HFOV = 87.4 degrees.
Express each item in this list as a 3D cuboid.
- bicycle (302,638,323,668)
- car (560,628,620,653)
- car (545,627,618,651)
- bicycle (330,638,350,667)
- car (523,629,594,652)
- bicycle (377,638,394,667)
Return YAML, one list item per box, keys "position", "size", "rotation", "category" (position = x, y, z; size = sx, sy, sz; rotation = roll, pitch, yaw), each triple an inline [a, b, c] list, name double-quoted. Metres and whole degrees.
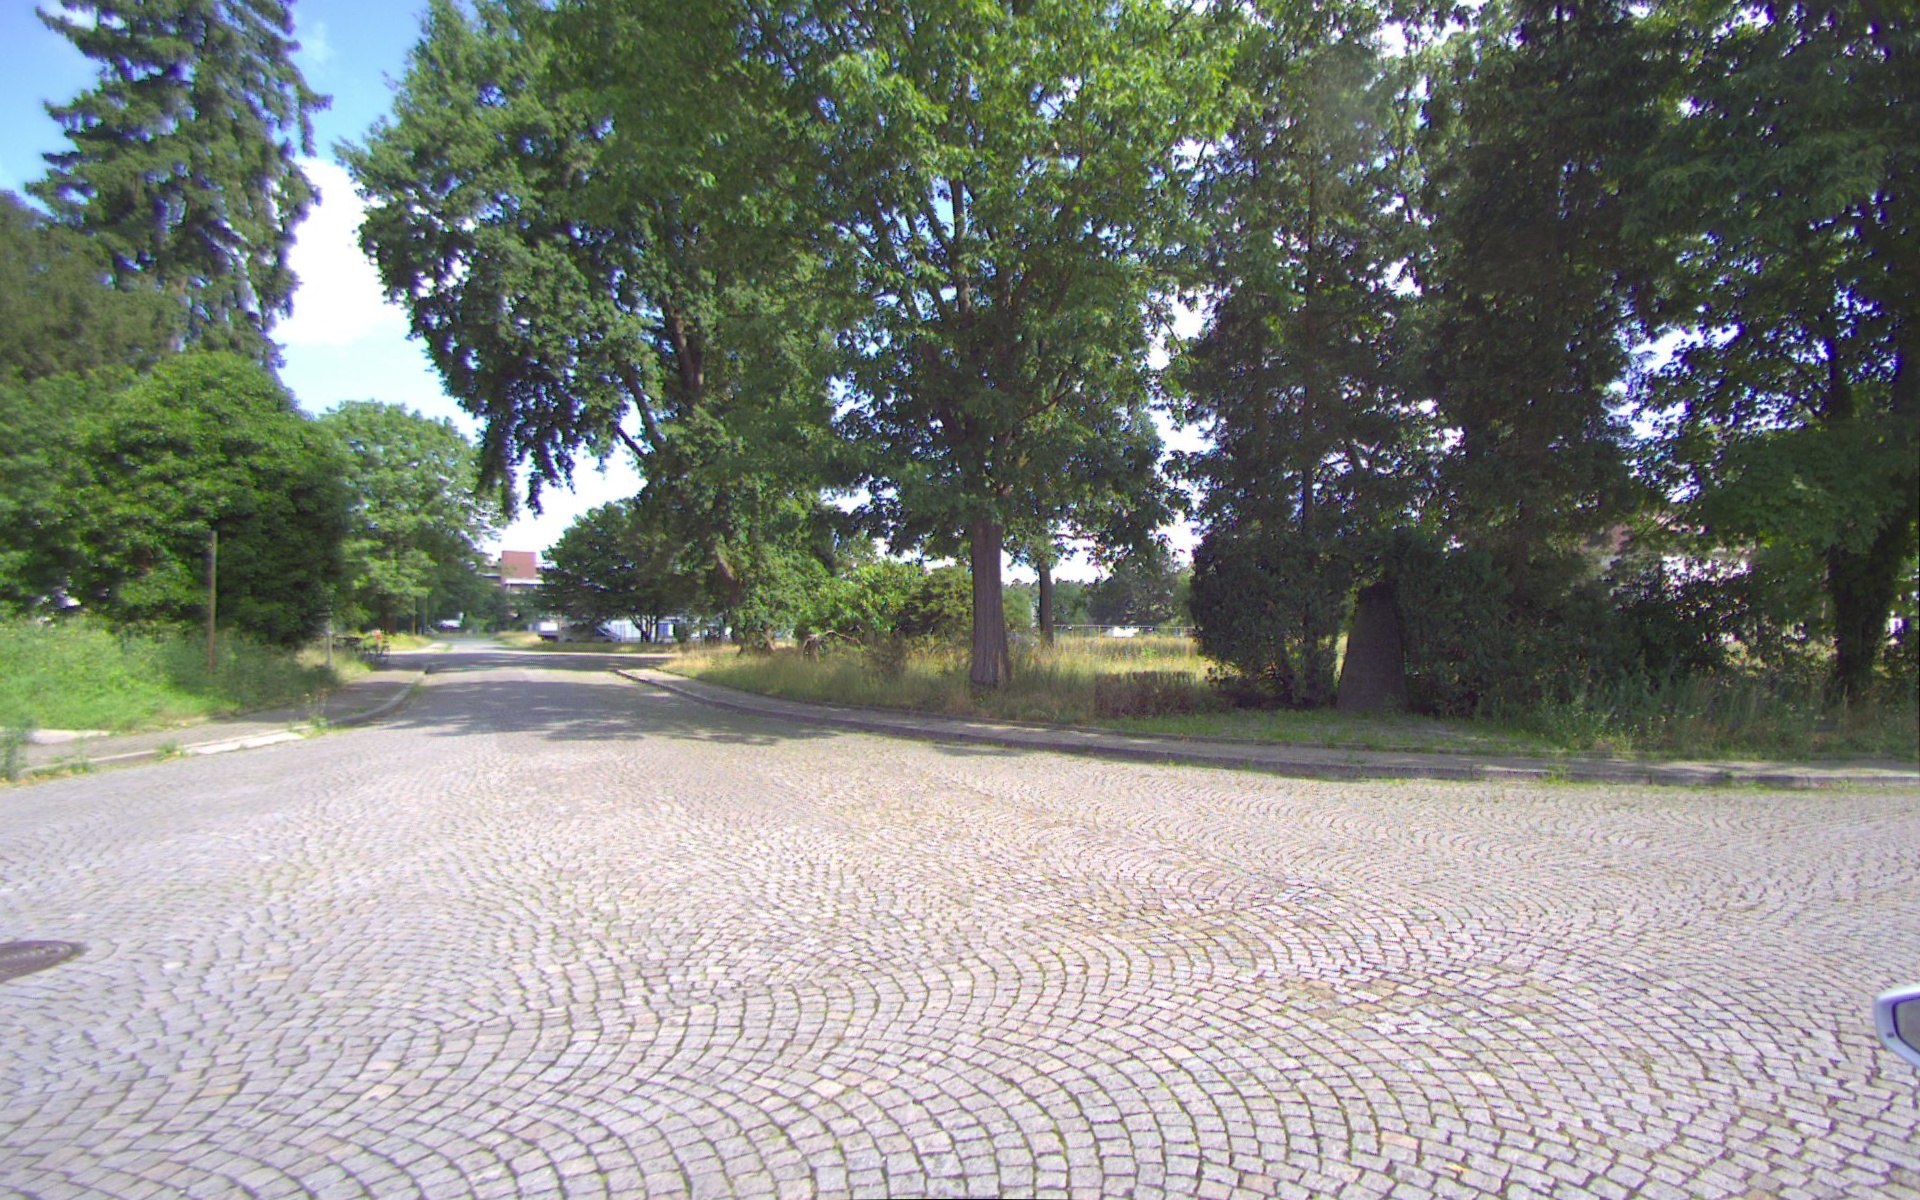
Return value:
- position: [-25.418, 2.061, 39.446]
  size: [0.553, 1.113, 2.198]
  rotation: [1, -2, -29]
  category: "bicycle"
- position: [-30.863, 3.365, 83.781]
  size: [4.578, 2.018, 1.989]
  rotation: [1, -1, -23]
  category: "car"
- position: [-33.269, 3.390, 88.260]
  size: [5.916, 2.018, 1.989]
  rotation: [1, -1, -23]
  category: "car"
- position: [-24.612, 2.079, 39.891]
  size: [0.553, 1.113, 2.198]
  rotation: [1, -2, -29]
  category: "bicycle"
- position: [-36.602, 3.718, 91.670]
  size: [5.916, 2.018, 1.989]
  rotation: [1, -1, -23]
  category: "car"
- position: [-23.049, 2.109, 40.334]
  size: [0.553, 1.113, 2.198]
  rotation: [1, -2, -29]
  category: "bicycle"
